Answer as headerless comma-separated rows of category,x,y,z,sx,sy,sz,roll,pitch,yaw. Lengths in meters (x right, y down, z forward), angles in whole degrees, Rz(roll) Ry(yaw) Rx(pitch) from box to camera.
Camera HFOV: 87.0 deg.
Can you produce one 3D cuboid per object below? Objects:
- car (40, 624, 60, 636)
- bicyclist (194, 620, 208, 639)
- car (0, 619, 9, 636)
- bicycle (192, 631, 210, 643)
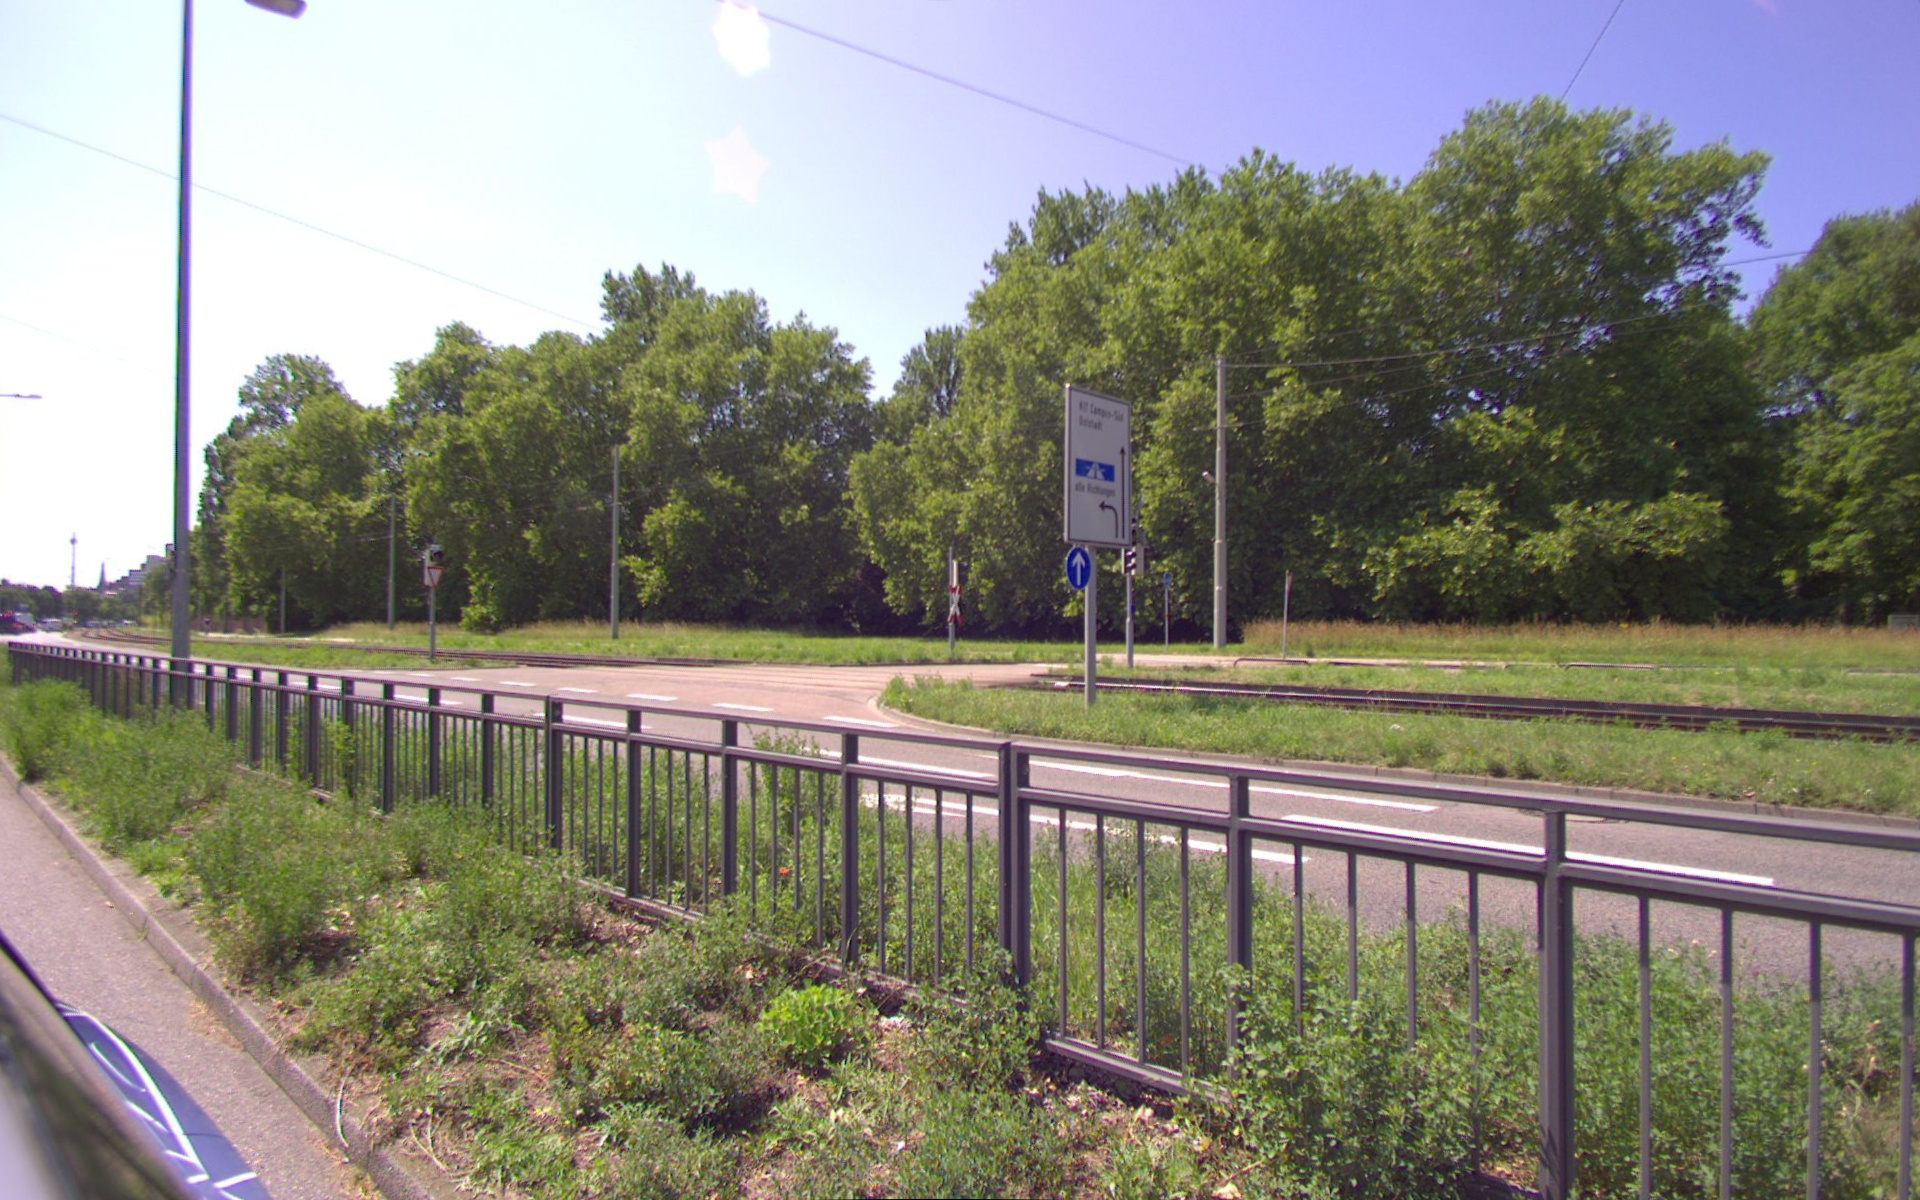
car,-136.635,4.477,151.930,1.970,1.871,4.003,1,-2,-44
bicyclist,-75.005,2.891,100.019,1.117,1.820,0.851,-1,-2,41
car,-107.893,3.126,113.363,1.970,1.871,4.004,1,-2,-43
bicycle,-75.058,3.676,100.017,2.785,1.171,0.851,-1,-2,41
